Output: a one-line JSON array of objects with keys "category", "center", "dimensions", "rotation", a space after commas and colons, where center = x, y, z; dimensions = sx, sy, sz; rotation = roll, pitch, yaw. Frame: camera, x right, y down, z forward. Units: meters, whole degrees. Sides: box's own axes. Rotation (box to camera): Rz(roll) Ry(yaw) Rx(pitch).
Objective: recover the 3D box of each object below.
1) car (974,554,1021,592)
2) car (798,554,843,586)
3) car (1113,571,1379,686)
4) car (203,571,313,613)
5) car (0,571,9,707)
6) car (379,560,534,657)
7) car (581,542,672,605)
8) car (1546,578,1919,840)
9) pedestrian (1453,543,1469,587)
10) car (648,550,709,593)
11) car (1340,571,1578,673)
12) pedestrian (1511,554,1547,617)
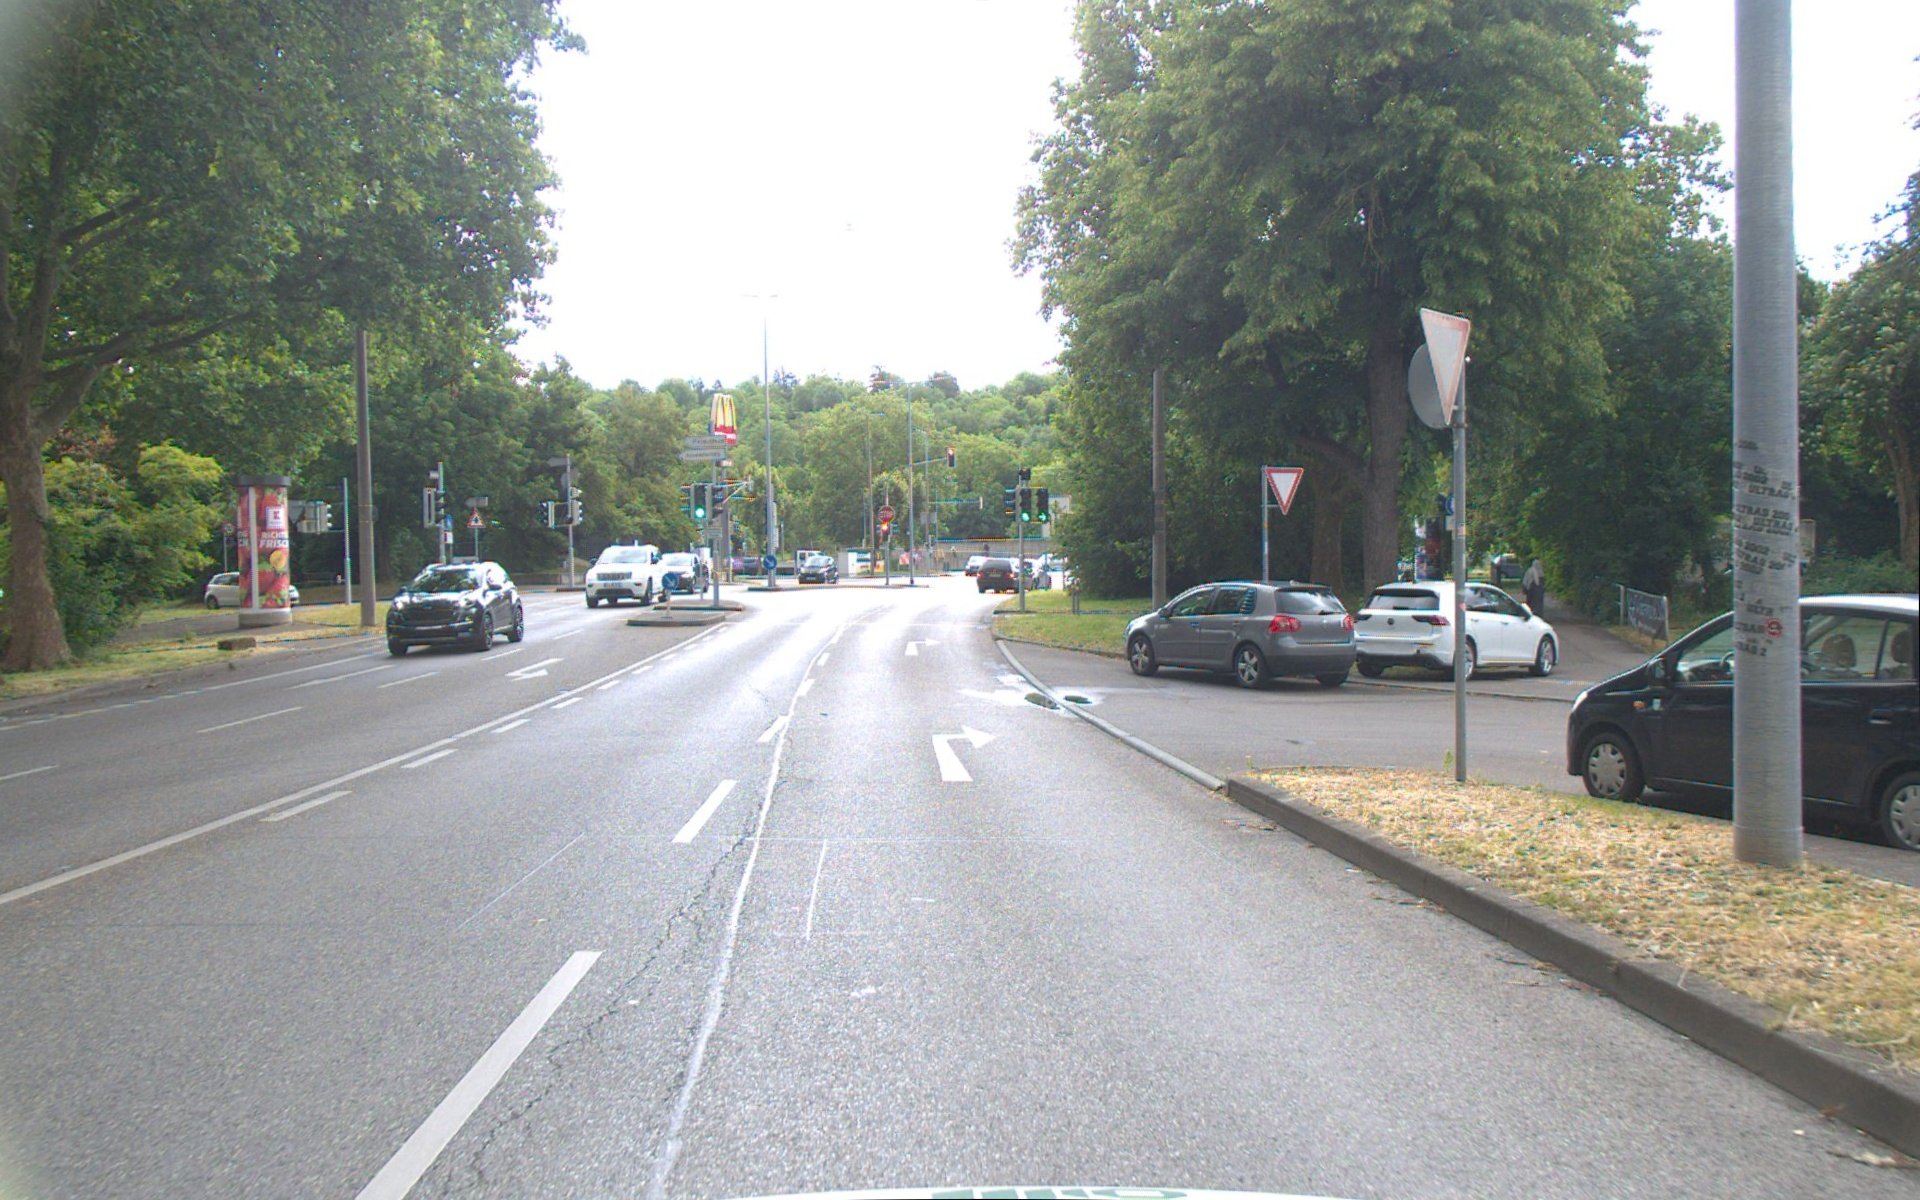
[{"category": "car", "center": [1.660, -1.177, 71.200], "dimensions": [1.784, 1.535, 4.577], "rotation": [-1, 1, 4]}, {"category": "car", "center": [-7.212, -1.578, 85.724], "dimensions": [1.535, 1.553, 3.193], "rotation": [-1, 2, 11]}, {"category": "car", "center": [4.145, 0.346, 24.585], "dimensions": [1.710, 1.453, 4.070], "rotation": [-2, 3, -31]}, {"category": "car", "center": [-26.605, -0.295, 62.713], "dimensions": [3.767, 1.505, 1.824], "rotation": [0, 2, 27]}, {"category": "car", "center": [-14.956, 0.586, 20.346], "dimensions": [5.140, 1.964, 2.076], "rotation": [-4, 1, -15]}, {"category": "car", "center": [-9.812, 0.108, 32.609], "dimensions": [1.760, 1.614, 4.414], "rotation": [-3, 2, -2]}, {"category": "car", "center": [-10.171, -0.864, 50.789], "dimensions": [1.872, 1.794, 4.752], "rotation": [-1, 2, -1]}, {"category": "car", "center": [5.681, 0.606, 10.826], "dimensions": [1.547, 1.428, 3.469], "rotation": [-2, 2, -23]}, {"category": "pedestrian", "center": [18.086, -1.252, 59.698], "dimensions": [0.499, 1.558, 0.779], "rotation": [0, 1, 13]}, {"category": "car", "center": [-10.411, -1.082, 61.345], "dimensions": [1.536, 1.406, 3.951], "rotation": [-2, 3, 0]}, {"category": "car", "center": [7.799, 0.275, 25.657], "dimensions": [4.230, 1.404, 1.736], "rotation": [-2, 2, -44]}, {"category": "pedestrian", "center": [14.380, -0.370, 41.781], "dimensions": [0.669, 1.578, 0.743], "rotation": [-1, 1, 3]}]
